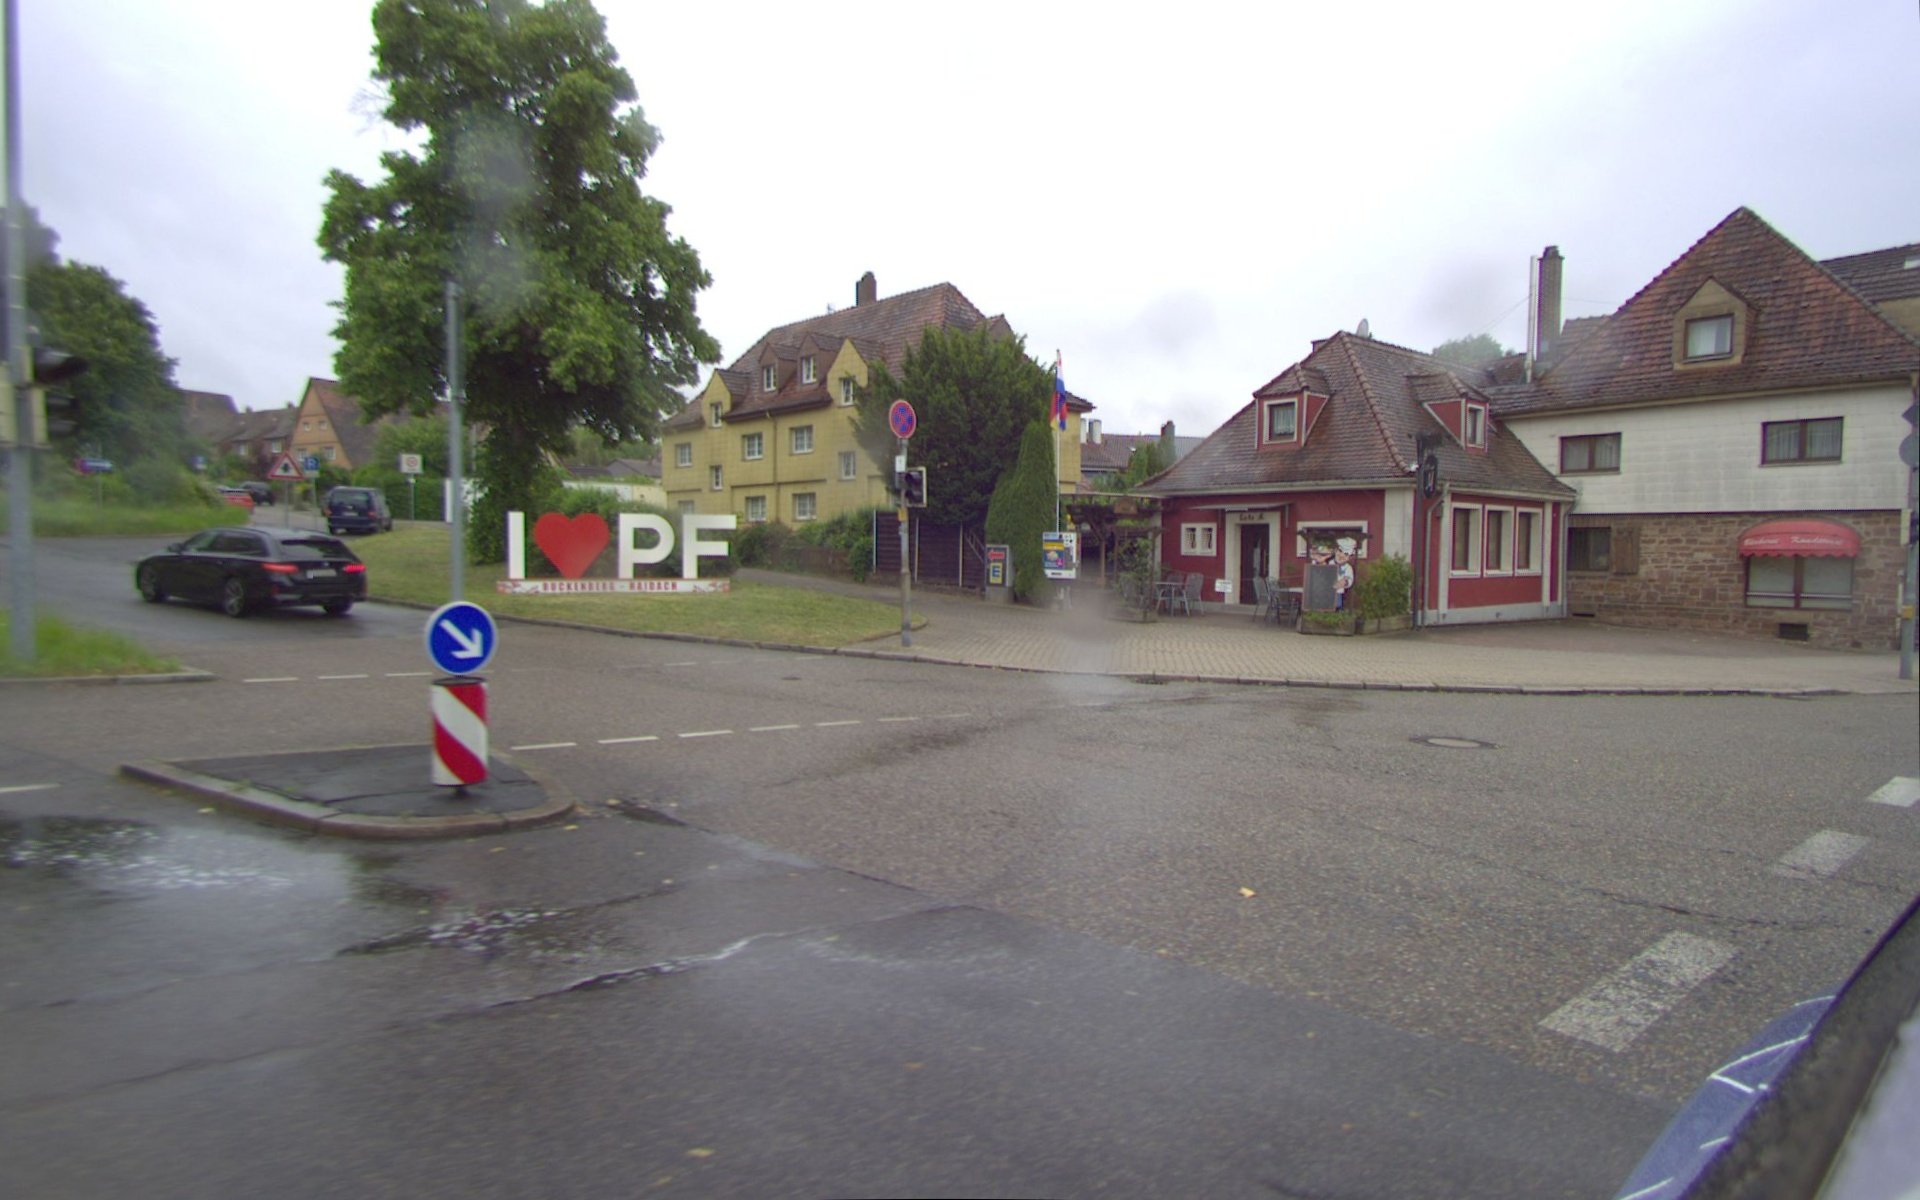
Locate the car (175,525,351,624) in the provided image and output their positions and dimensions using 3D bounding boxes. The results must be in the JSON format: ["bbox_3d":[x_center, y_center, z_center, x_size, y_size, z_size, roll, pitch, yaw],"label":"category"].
[{"bbox_3d":[-12.482,-0.500,18.060,3.511,1.553,1.509,4,3,36],"label":"car"}]

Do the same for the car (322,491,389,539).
[{"bbox_3d":[-25.958,-3.615,43.562,1.805,1.864,3.820,1,2,-21],"label":"car"}]

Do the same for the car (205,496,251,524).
[{"bbox_3d":[-41.752,-5.124,57.709,2.983,1.333,1.458,0,1,40],"label":"car"}]
